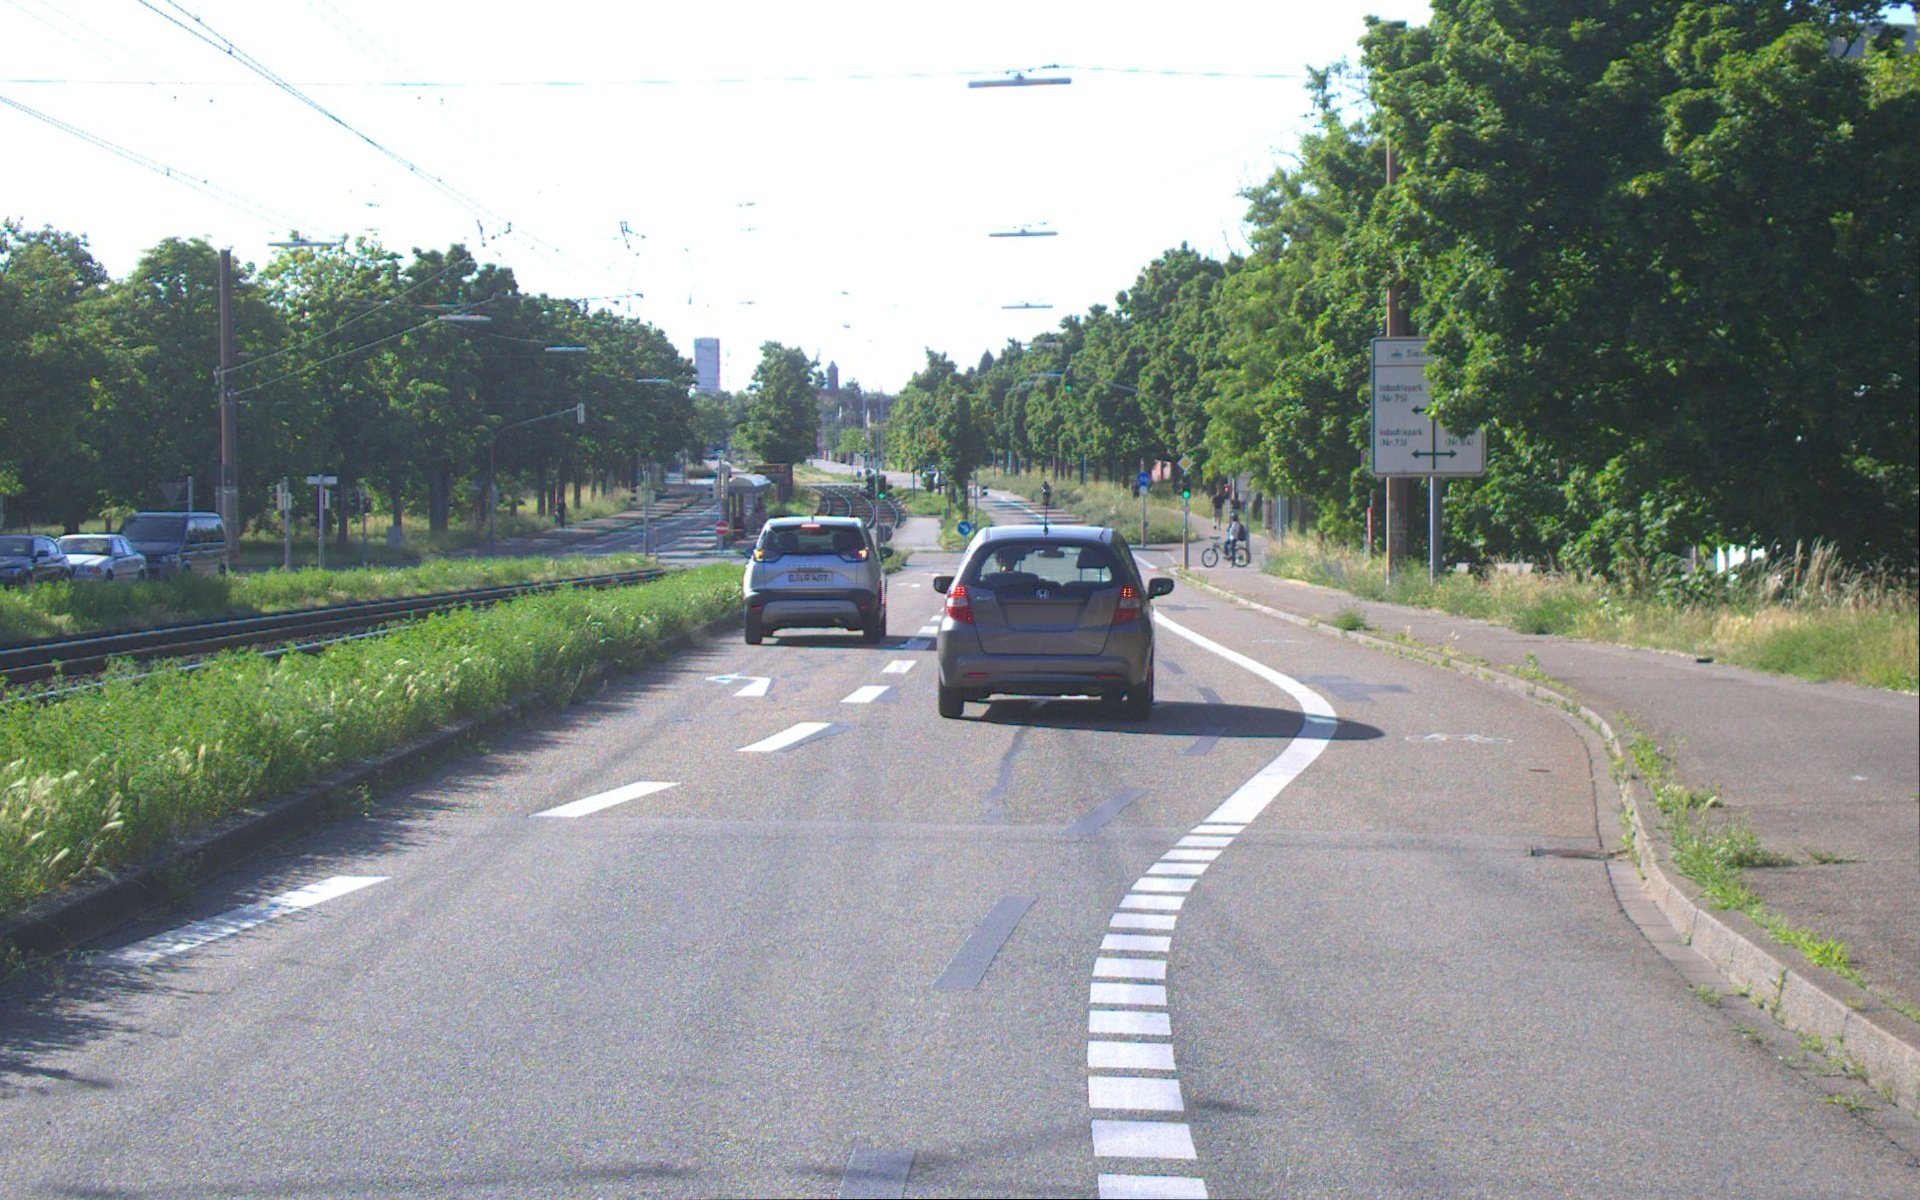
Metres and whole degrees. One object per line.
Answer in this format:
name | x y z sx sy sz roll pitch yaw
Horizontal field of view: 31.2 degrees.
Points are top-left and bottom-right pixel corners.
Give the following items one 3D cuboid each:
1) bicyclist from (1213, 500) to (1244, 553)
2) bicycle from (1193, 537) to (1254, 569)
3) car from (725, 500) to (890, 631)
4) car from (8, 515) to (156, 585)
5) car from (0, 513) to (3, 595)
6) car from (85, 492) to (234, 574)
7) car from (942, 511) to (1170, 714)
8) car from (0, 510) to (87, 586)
bicyclist | 9.010 -2.472 115.201 0.910 1.739 0.764 -1 1 13
bicycle | 8.829 -1.569 115.263 1.921 0.994 0.764 -2 1 13
car | -1.909 -0.480 44.283 1.851 1.601 4.255 0 2 1
car | -19.217 -1.123 75.411 1.928 1.432 4.695 0 2 2
car | -19.273 -0.817 63.460 1.993 1.569 4.435 0 2 0
car | -18.988 -1.613 81.767 2.197 1.884 4.791 0 2 3
car | 0.743 0.043 28.102 1.707 1.503 4.000 1 2 0
car | -19.192 -1.074 69.224 1.993 1.432 4.415 0 2 2
